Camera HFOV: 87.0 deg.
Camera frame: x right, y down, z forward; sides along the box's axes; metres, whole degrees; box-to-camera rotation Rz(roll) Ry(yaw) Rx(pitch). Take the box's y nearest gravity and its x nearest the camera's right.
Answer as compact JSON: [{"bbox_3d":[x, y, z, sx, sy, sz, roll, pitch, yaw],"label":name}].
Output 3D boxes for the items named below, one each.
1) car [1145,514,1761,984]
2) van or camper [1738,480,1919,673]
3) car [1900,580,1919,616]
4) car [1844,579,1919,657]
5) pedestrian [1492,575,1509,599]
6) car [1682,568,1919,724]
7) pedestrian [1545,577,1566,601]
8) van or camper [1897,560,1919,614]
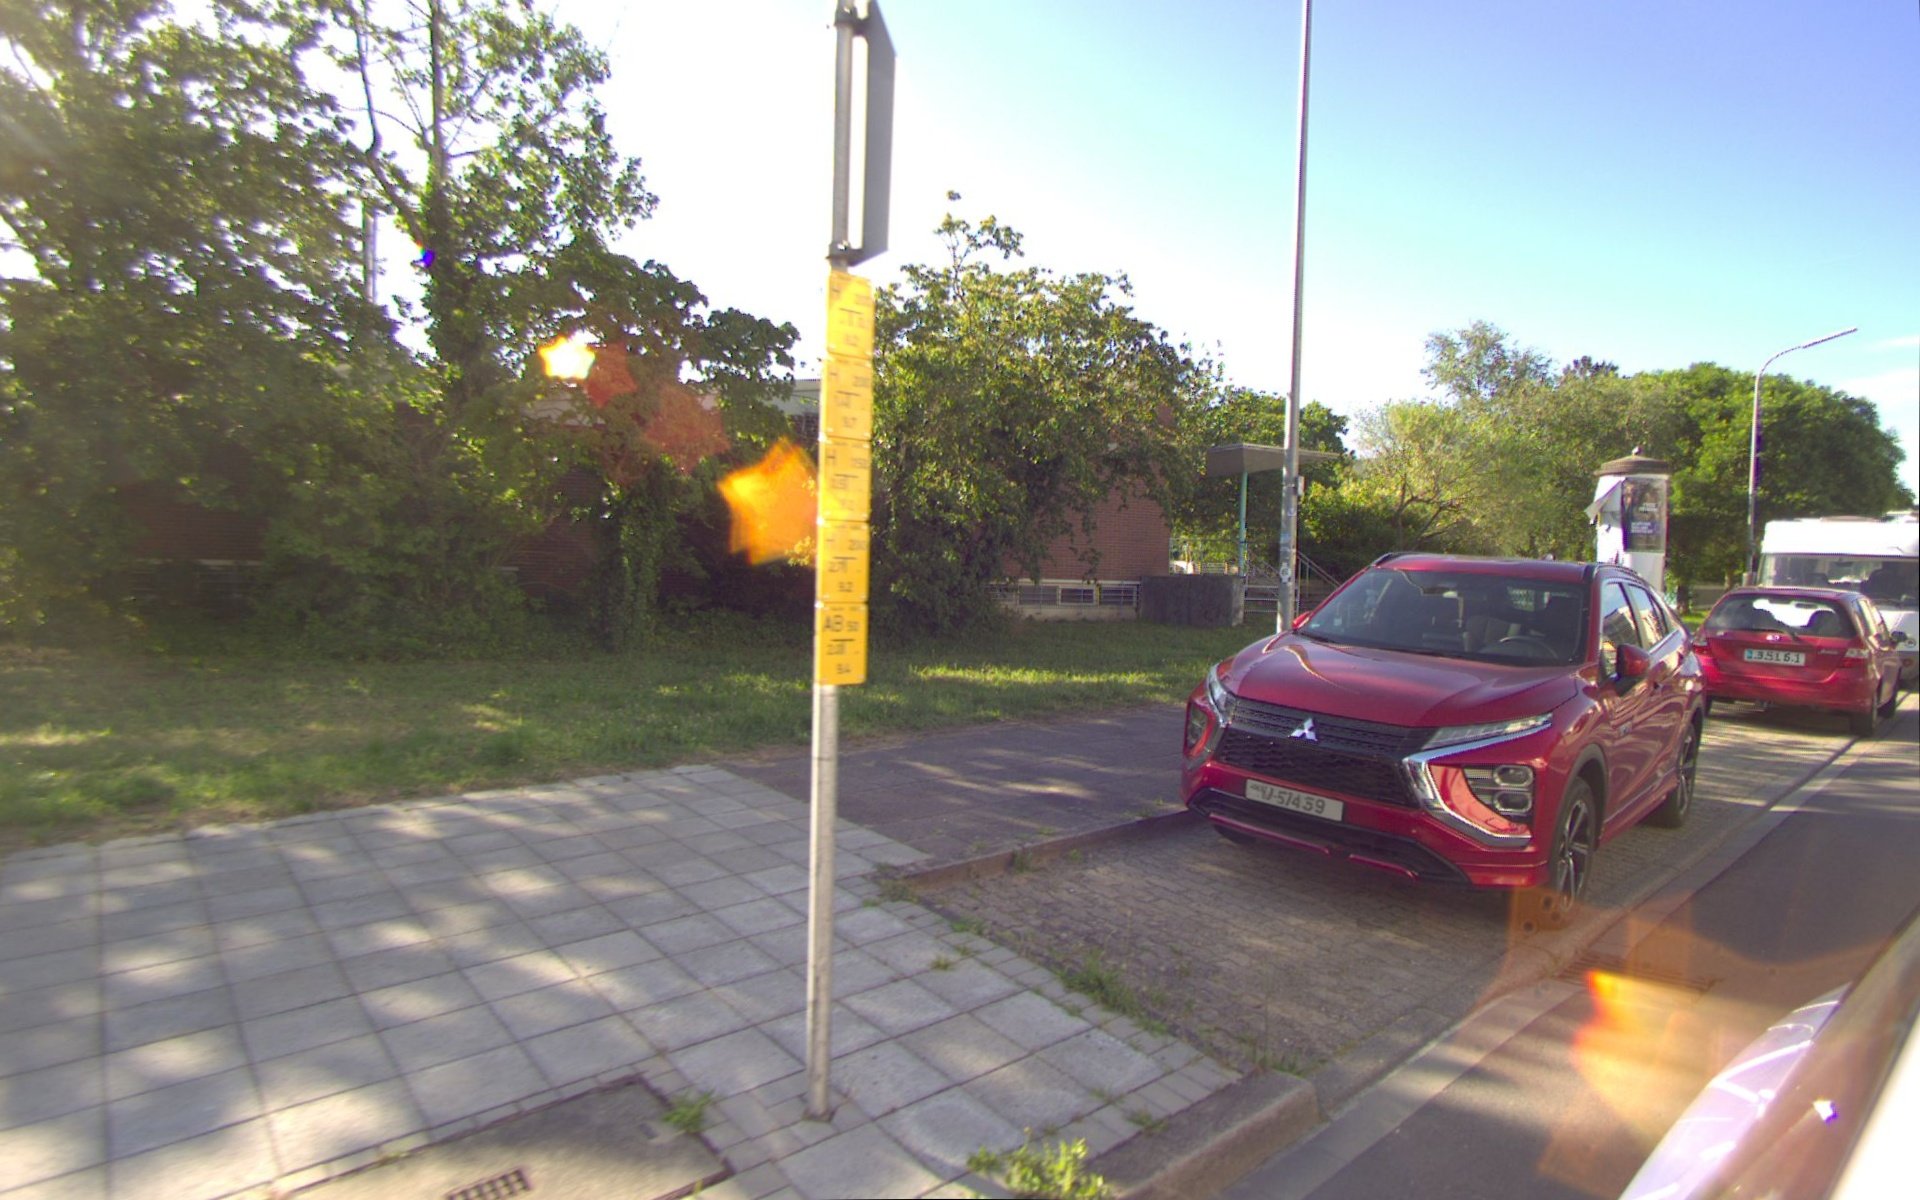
[{"bbox_3d":[3.197,0.483,5.985,4.569,1.699,1.777,-1,5,-45],"label":"car"},{"bbox_3d":[16.158,-0.414,18.121,6.738,2.880,2.499,0,3,-44],"label":"van or camper"},{"bbox_3d":[46.317,-0.070,48.229,1.993,1.660,4.469,5,4,41],"label":"car"},{"bbox_3d":[21.332,0.378,22.823,4.357,1.542,1.723,-1,6,-45],"label":"car"},{"bbox_3d":[25.263,-0.600,47.279,0.628,1.102,0.503,3,2,25],"label":"pedestrian"},{"bbox_3d":[10.035,0.416,11.919,3.933,1.492,1.694,-1,3,-43],"label":"car"},{"bbox_3d":[28.147,-0.537,47.820,0.700,1.102,0.713,4,3,40],"label":"pedestrian"},{"bbox_3d":[50.908,-0.626,53.091,2.353,2.627,6.326,7,5,43],"label":"van or camper"}]
